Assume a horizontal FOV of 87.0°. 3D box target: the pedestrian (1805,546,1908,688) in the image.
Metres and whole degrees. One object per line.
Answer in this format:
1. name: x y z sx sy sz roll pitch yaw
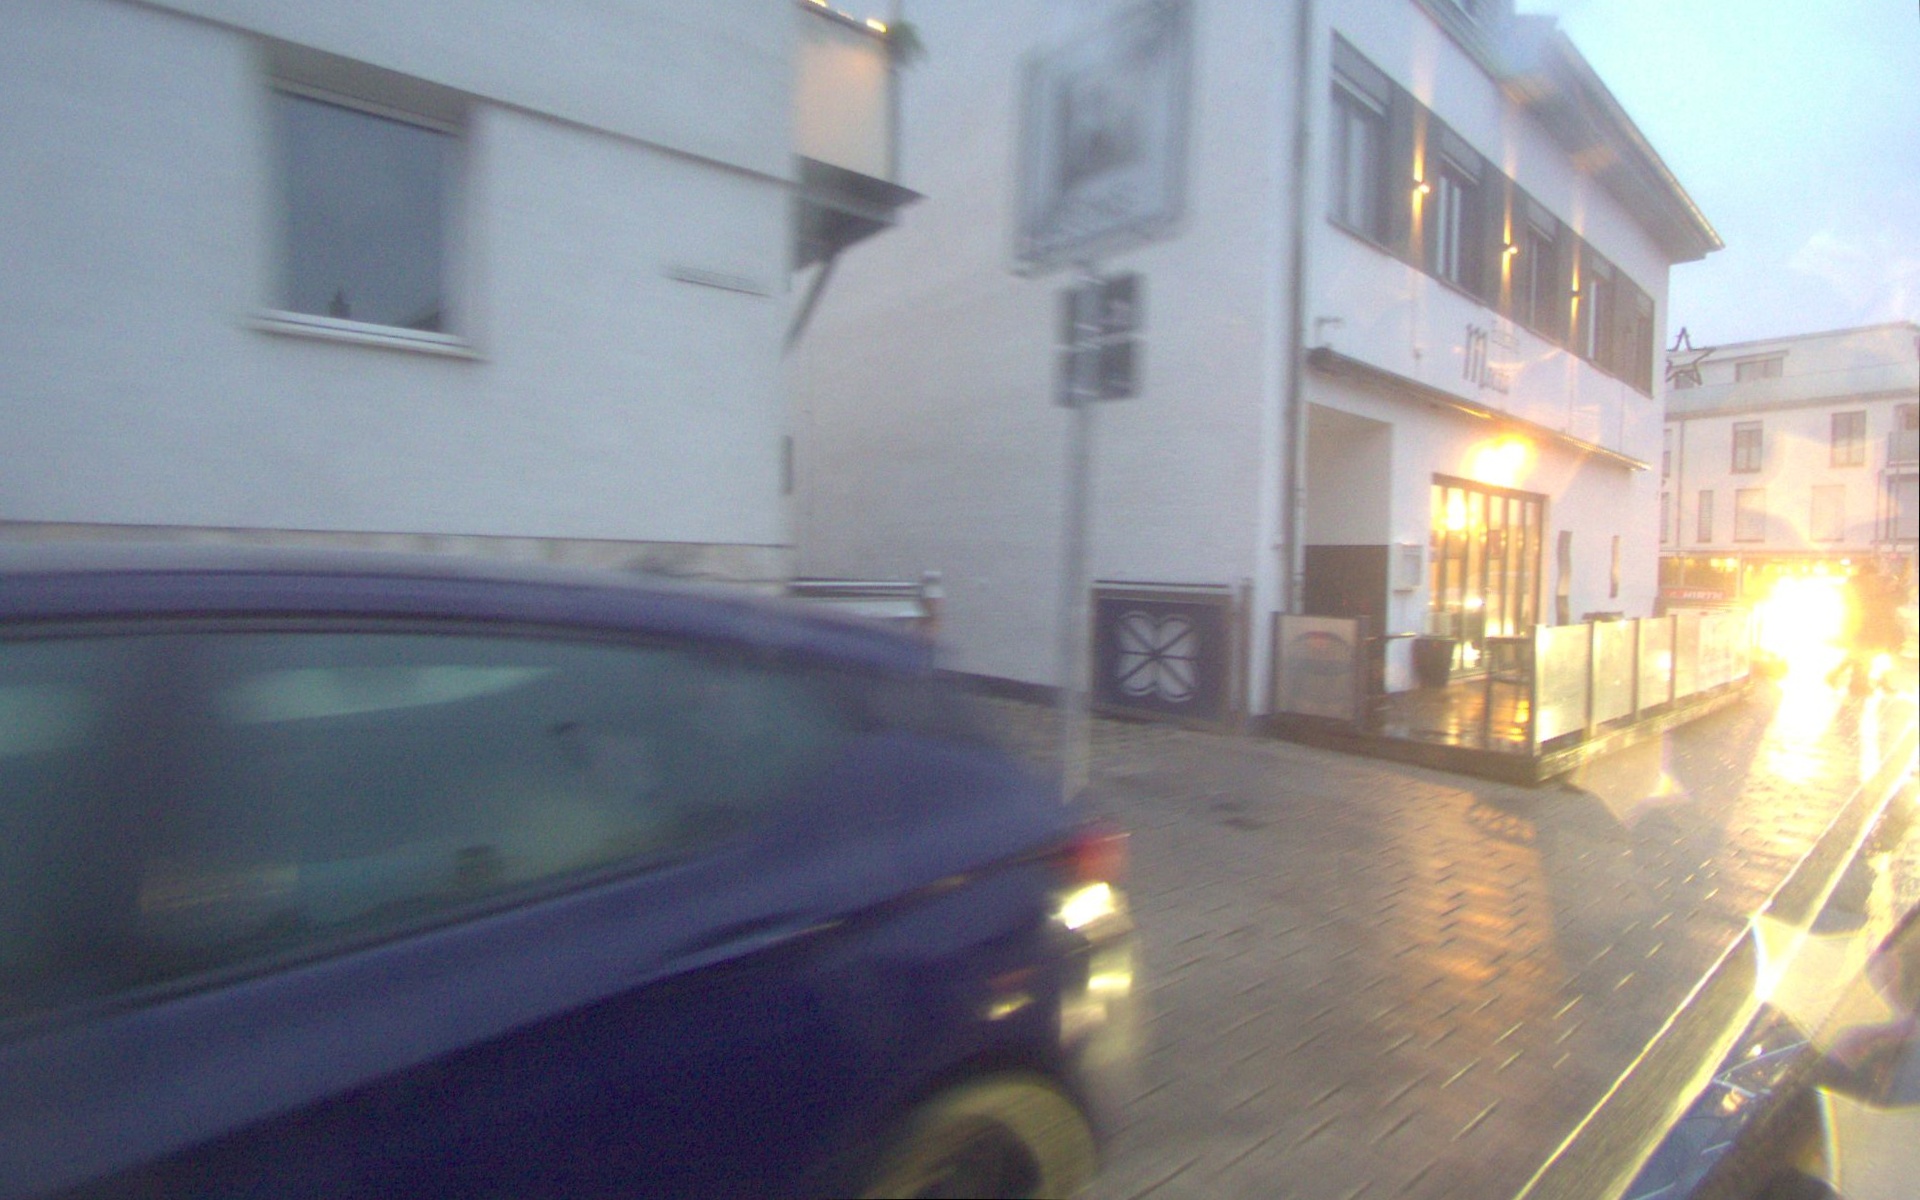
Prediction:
1. pedestrian: 12.412 0.222 14.033 0.696 1.889 0.792 -2 1 3

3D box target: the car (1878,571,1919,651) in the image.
1. car: 19.712 0.232 19.367 2.009 1.497 4.517 -1 2 27

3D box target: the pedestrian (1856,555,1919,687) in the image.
1. pedestrian: 13.219 0.269 14.094 0.754 1.783 0.792 -2 1 3

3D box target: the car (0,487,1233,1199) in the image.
1. car: -1.646 0.576 1.354 4.123 1.482 1.733 0 4 -39

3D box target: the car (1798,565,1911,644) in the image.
1. car: 22.335 0.052 25.400 1.816 1.767 3.947 -1 2 37
